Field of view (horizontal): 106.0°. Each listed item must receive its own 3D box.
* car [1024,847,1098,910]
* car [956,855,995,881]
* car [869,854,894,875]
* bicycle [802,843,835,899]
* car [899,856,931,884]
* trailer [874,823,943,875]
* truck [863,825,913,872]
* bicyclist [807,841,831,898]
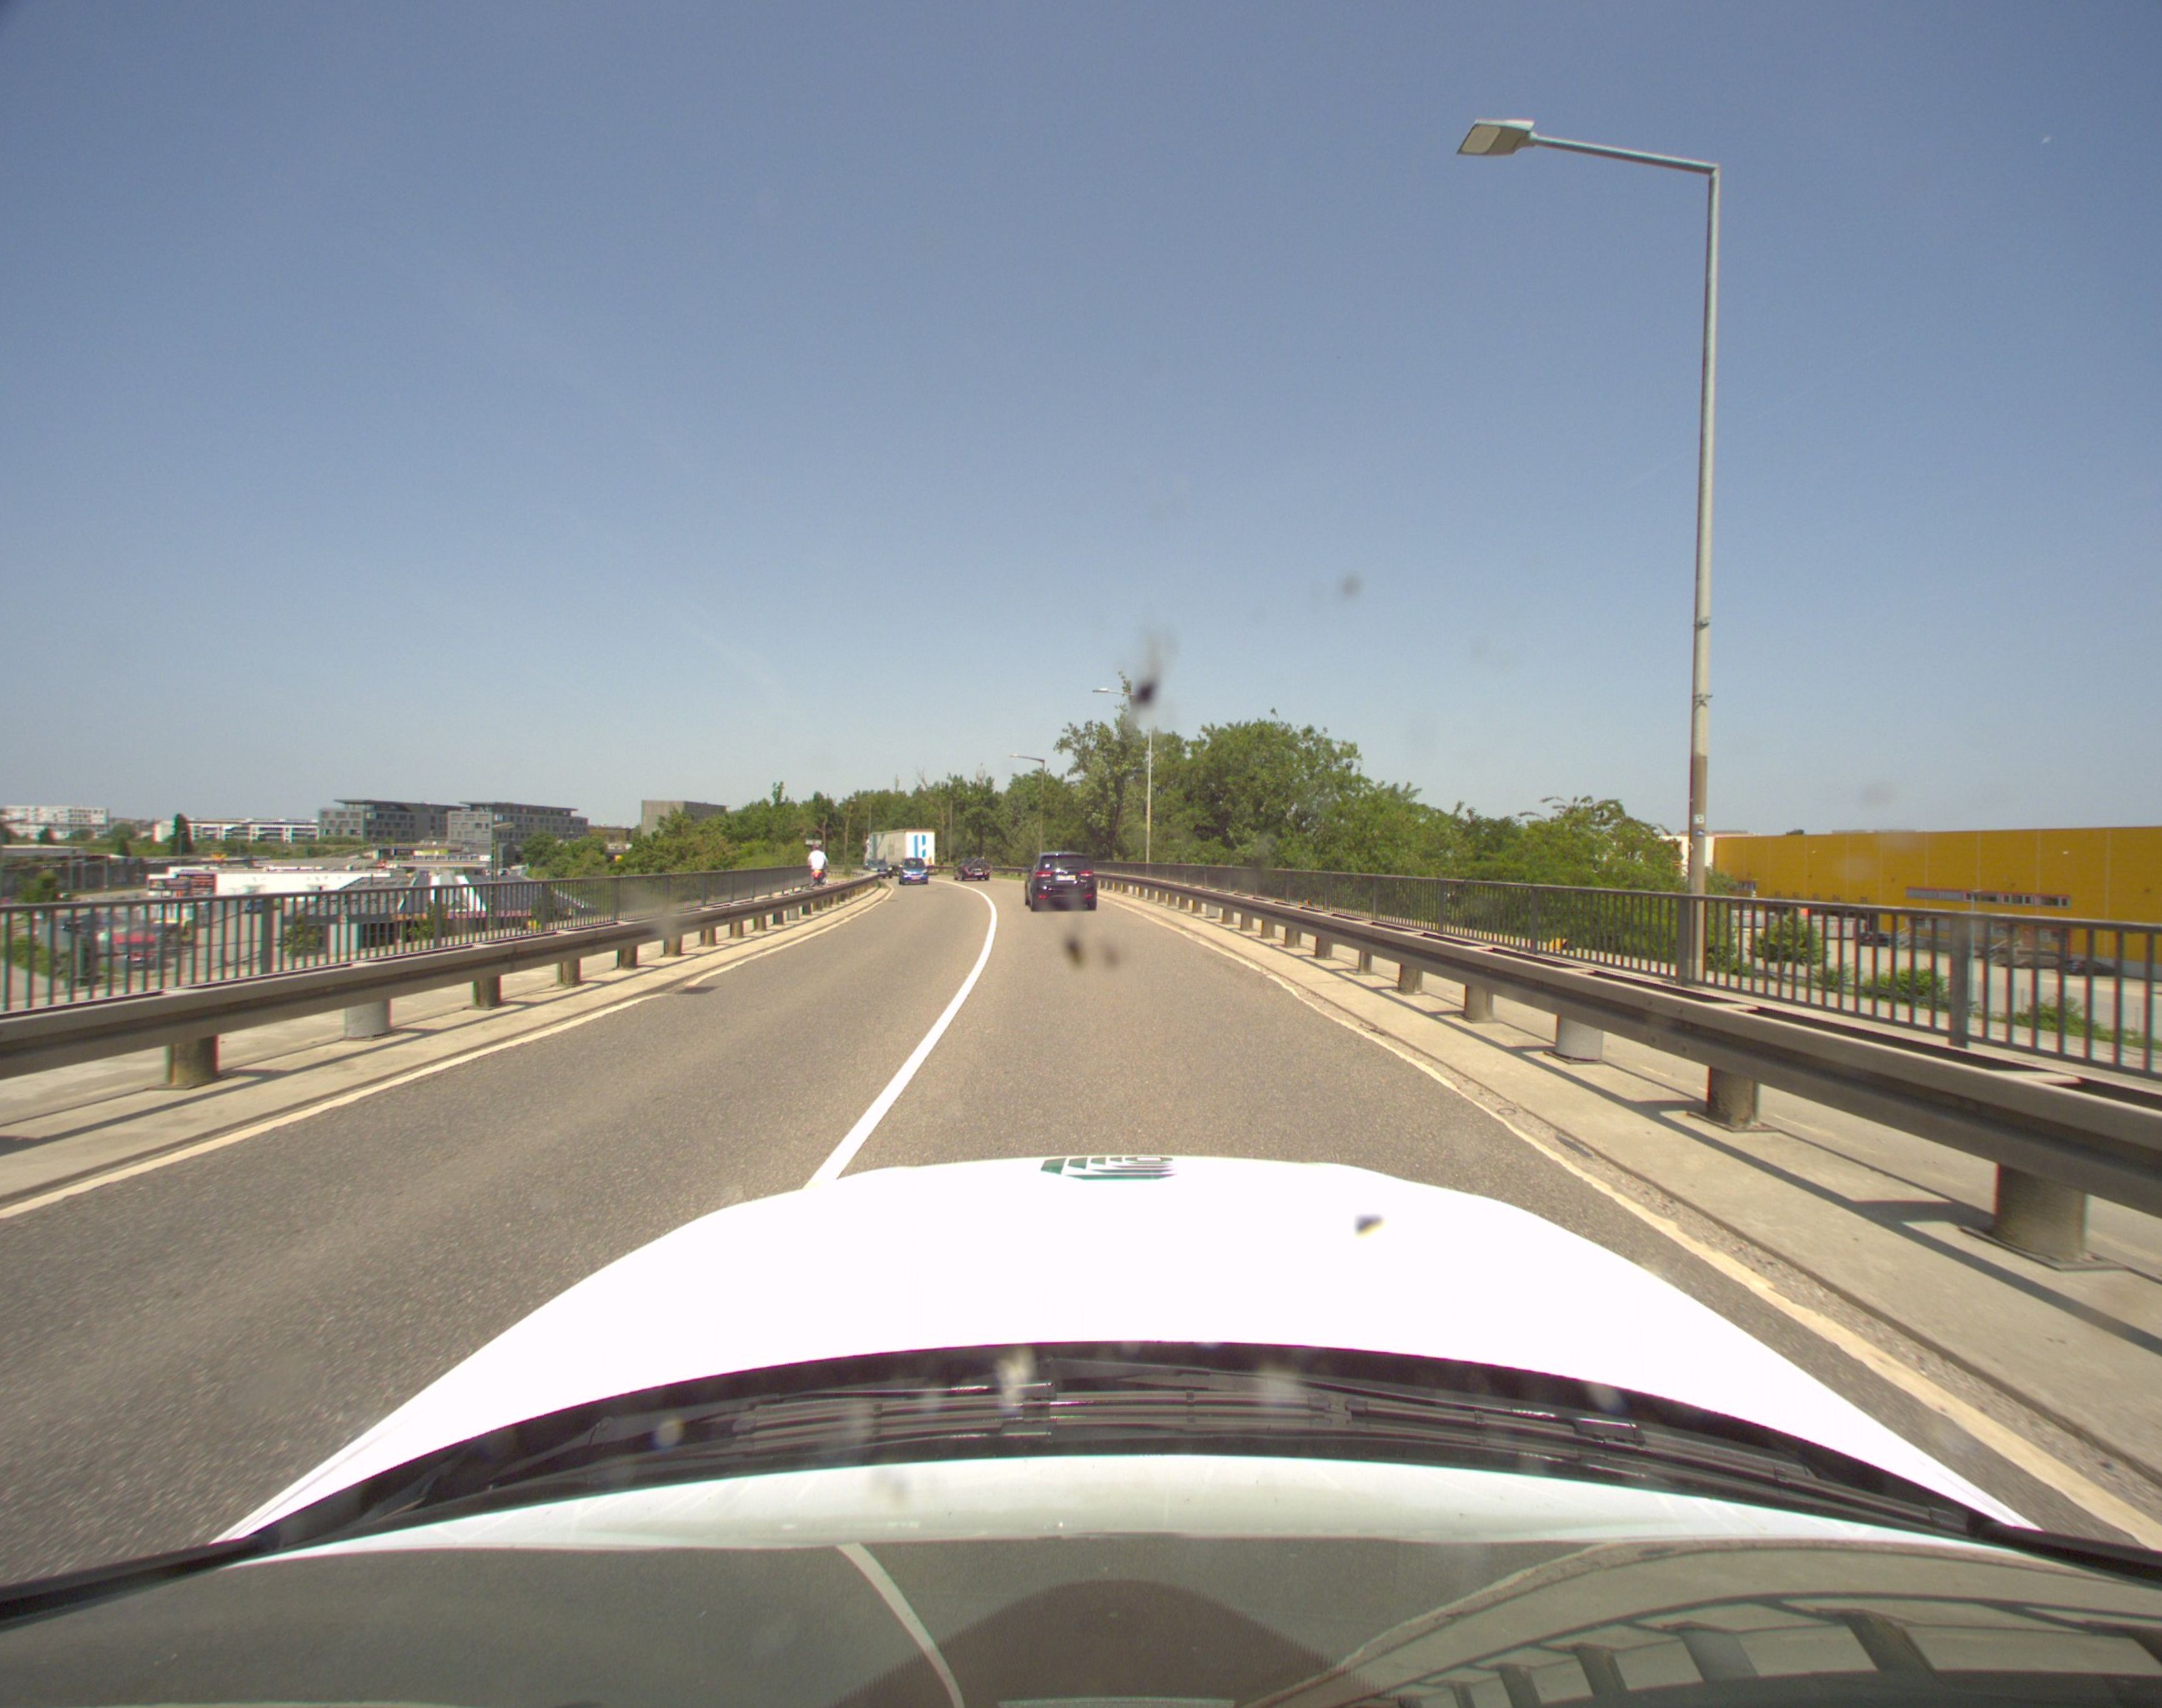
[{"bbox_3d":[-0.644,0.622,23.018,1.918,1.574,3.886,-1,1,-4],"label":"car"},{"bbox_3d":[-6.591,0.842,50.546,2.014,1.429,3.759,-1,1,-14],"label":"car"},{"bbox_3d":[-15.754,0.825,64.266,1.826,1.537,4.175,-1,1,-14],"label":"car"},{"bbox_3d":[-8.839,0.534,27.523,0.698,1.801,2.175,-1,1,-8],"label":"bicycle"},{"bbox_3d":[-9.507,0.896,46.497,1.600,1.486,2.734,-1,1,-15],"label":"car"},{"bbox_3d":[-15.775,-0.496,73.636,3.588,4.383,11.345,-1,1,-25],"label":"trailer"},{"bbox_3d":[-19.256,-0.617,80.906,3.590,4.440,6.462,-1,1,-25],"label":"truck"},{"bbox_3d":[-8.790,0.508,27.334,0.624,1.886,0.710,-1,1,-10],"label":"bicyclist"}]
